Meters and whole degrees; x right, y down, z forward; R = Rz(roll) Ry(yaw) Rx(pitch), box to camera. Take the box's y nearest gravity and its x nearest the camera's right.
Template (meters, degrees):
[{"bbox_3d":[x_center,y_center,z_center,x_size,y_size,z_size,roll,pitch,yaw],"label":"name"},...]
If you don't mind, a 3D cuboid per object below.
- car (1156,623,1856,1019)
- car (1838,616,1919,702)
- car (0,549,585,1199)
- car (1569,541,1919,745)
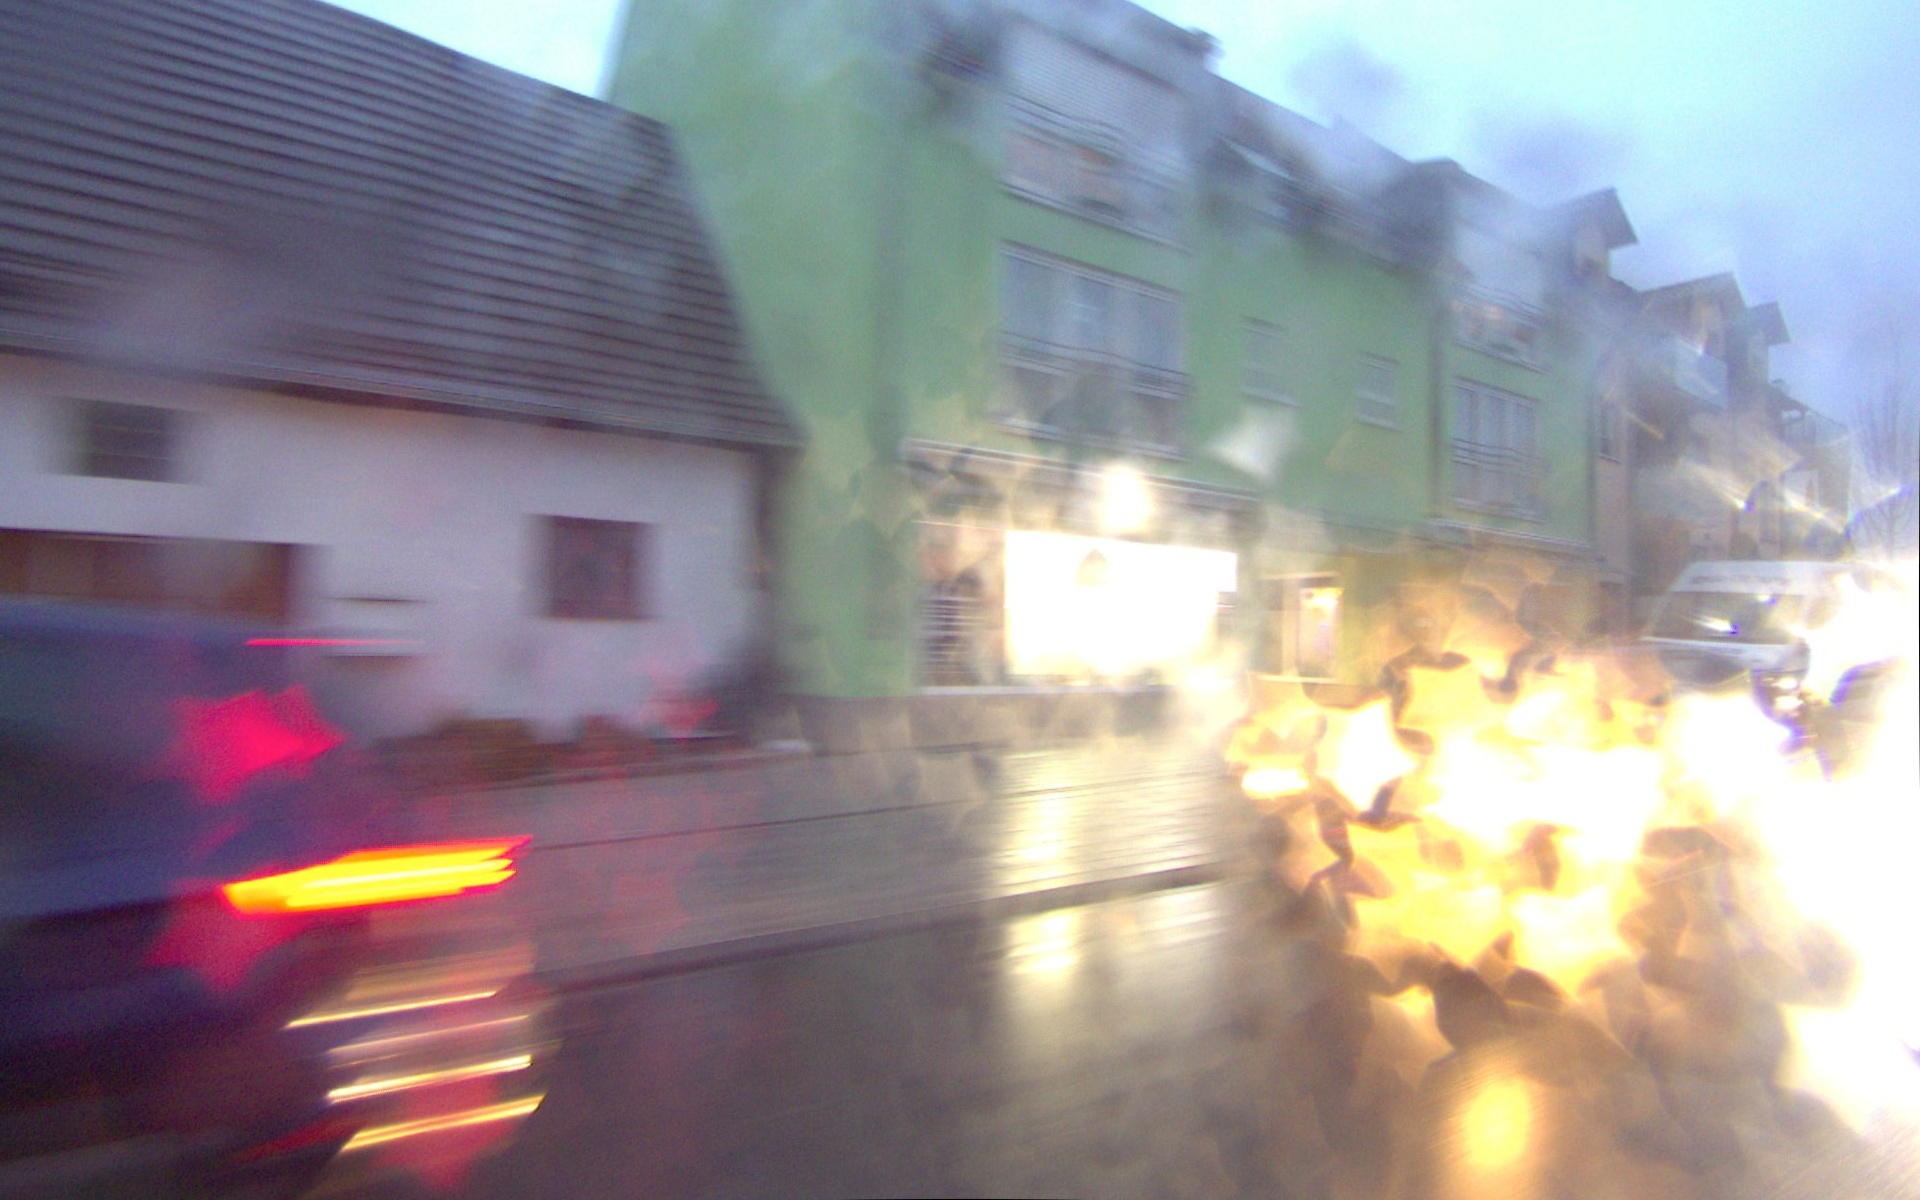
[{"bbox_3d":[3.420,0.949,6.102,4.211,1.576,1.982,0,-1,-33],"label":"car"},{"bbox_3d":[23.271,1.408,24.381,5.256,1.868,1.978,2,0,-38],"label":"car"},{"bbox_3d":[-3.111,0.689,1.943,4.208,1.576,1.848,2,-2,-31],"label":"car"},{"bbox_3d":[12.520,0.661,15.683,6.690,2.594,2.471,3,-1,-33],"label":"car"}]
